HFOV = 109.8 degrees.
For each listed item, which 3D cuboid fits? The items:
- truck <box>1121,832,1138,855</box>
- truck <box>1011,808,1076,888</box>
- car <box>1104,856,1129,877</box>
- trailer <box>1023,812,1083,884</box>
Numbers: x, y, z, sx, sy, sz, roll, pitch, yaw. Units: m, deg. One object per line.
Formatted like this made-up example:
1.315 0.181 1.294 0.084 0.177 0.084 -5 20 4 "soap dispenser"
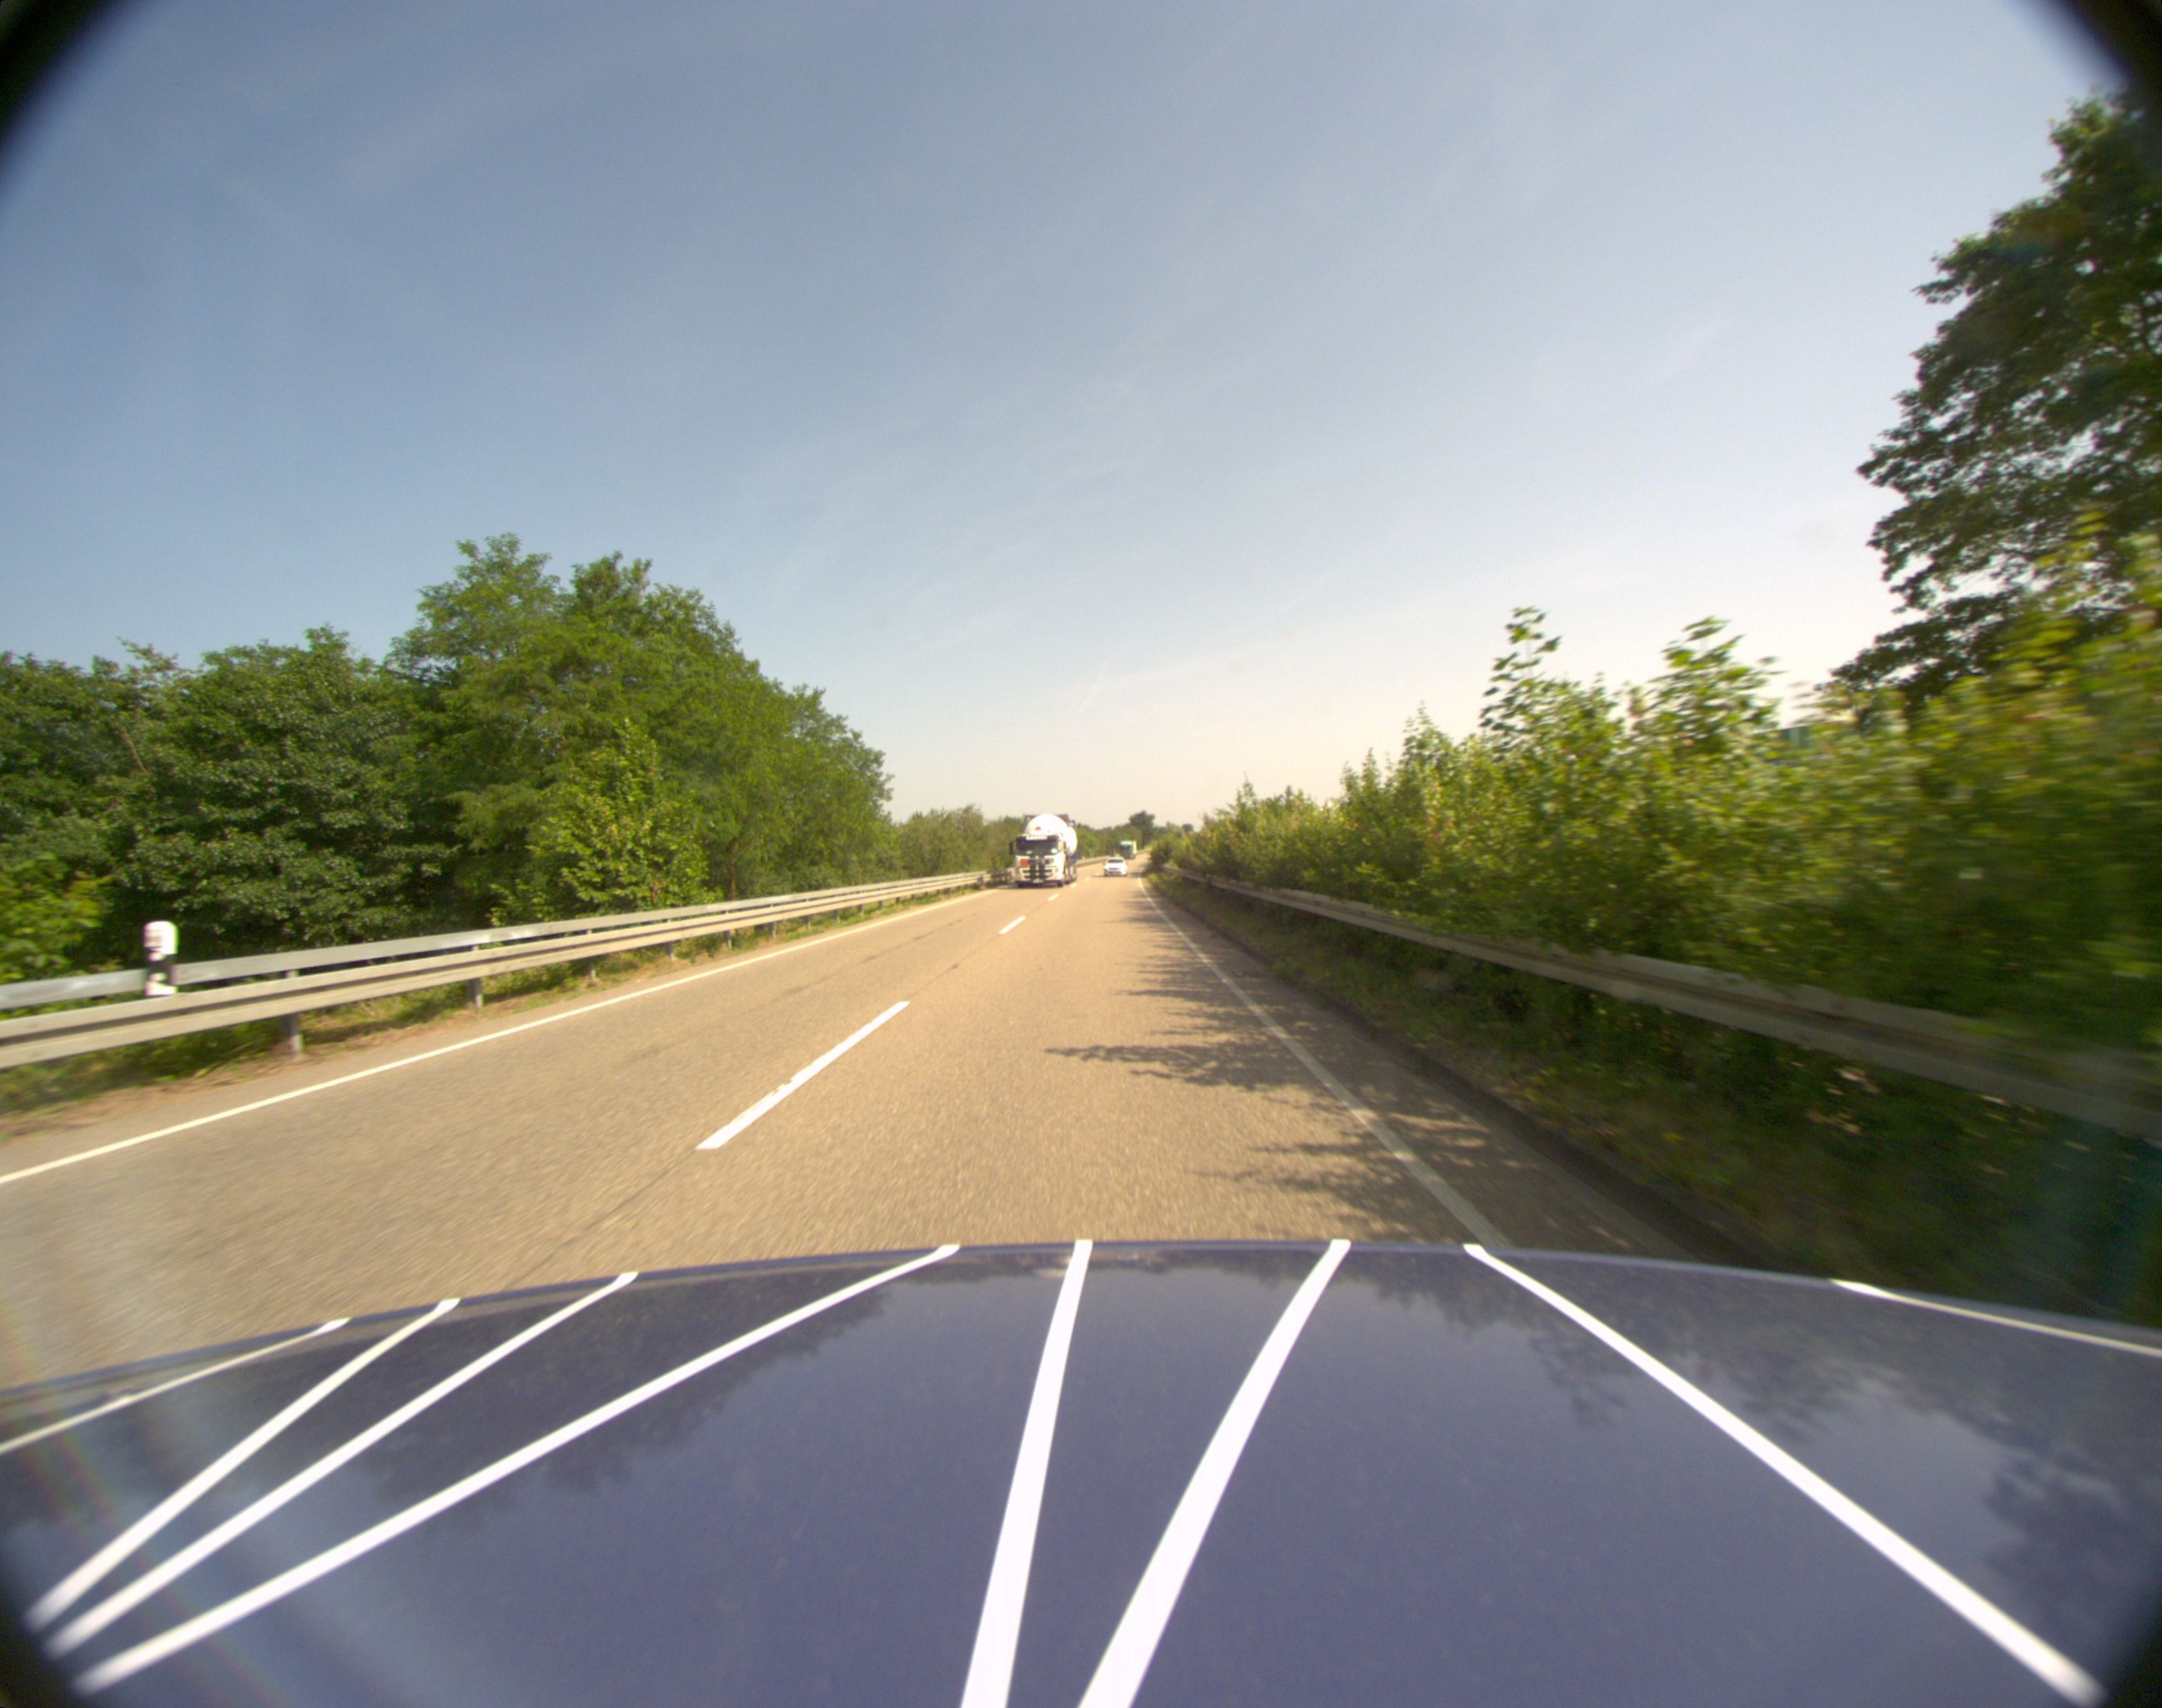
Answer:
9.382 -2.069 146.854 2.547 4.136 8.443 -2 1 8 "truck"
-1.935 -0.349 41.093 2.778 3.939 5.628 -1 1 4 "truck"
2.794 0.941 59.373 1.789 1.427 4.000 -2 1 4 "car"
-1.560 -0.390 46.430 2.763 3.968 8.187 -1 1 4 "trailer"
